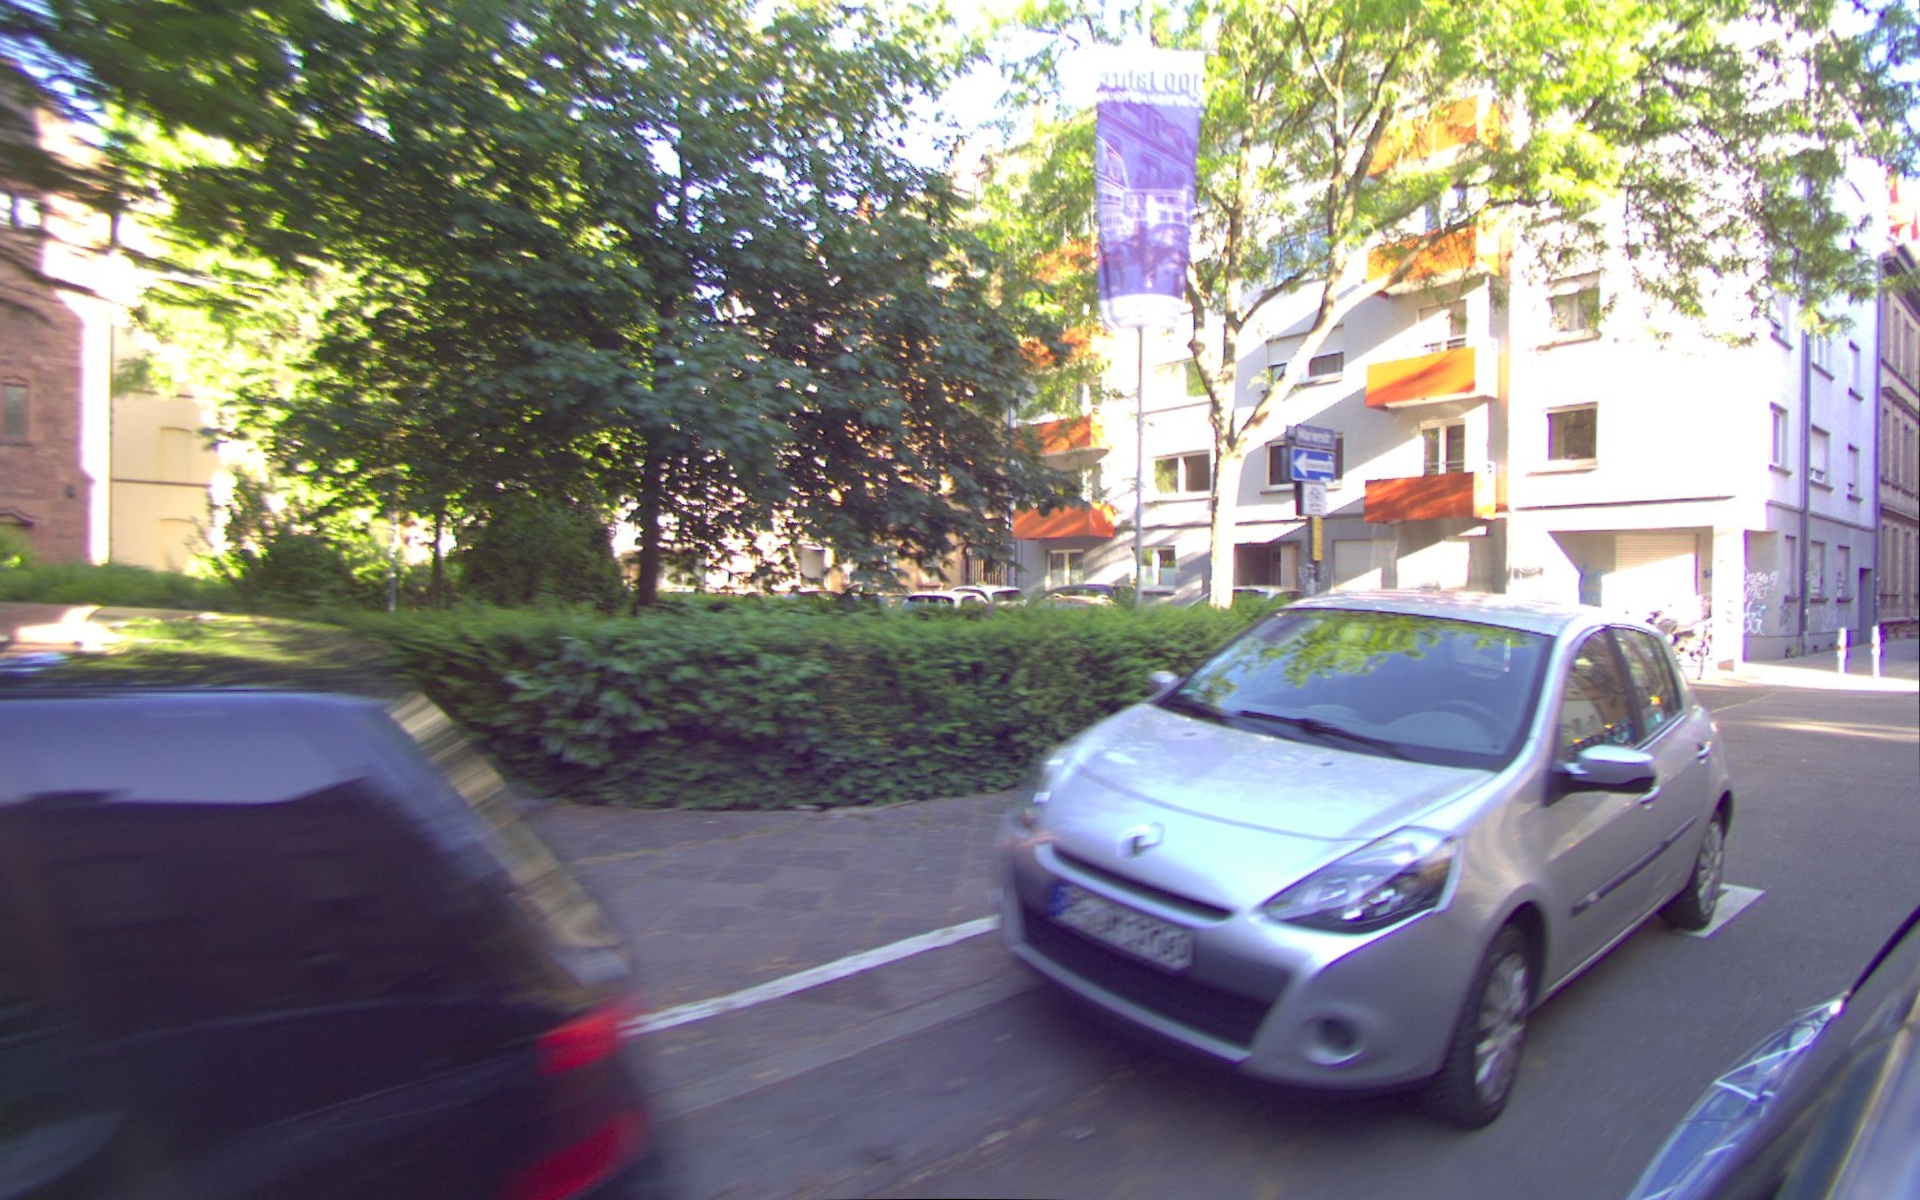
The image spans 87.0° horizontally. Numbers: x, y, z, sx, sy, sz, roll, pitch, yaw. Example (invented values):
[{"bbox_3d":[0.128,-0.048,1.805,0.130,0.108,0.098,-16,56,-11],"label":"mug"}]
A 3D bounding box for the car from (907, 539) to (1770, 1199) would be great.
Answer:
[{"bbox_3d":[1.789,0.564,4.121,3.766,1.538,1.712,-1,3,-41],"label":"car"}]

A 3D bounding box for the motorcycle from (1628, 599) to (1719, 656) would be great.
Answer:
[{"bbox_3d":[15.068,0.563,21.375,1.467,1.131,0.894,1,1,44],"label":"motorcycle"}]

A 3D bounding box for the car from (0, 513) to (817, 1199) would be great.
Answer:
[{"bbox_3d":[-2.211,0.639,0.774,3.934,1.454,1.624,-1,3,-41],"label":"car"}]

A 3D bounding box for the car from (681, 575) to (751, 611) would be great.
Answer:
[{"bbox_3d":[-11.692,-0.376,48.338,1.621,1.598,3.997,-4,3,-40],"label":"car"}]

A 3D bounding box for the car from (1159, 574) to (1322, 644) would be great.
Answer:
[{"bbox_3d":[7.016,0.167,25.541,1.621,1.577,3.693,-4,3,-40],"label":"car"}]

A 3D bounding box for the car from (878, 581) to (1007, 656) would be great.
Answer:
[{"bbox_3d":[-0.270,0.333,22.497,1.756,1.449,4.396,-1,1,15],"label":"car"}]

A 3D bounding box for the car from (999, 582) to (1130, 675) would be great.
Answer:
[{"bbox_3d":[2.053,0.432,18.671,1.756,1.449,4.396,-1,1,15],"label":"car"}]

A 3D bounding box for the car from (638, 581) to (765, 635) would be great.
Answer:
[{"bbox_3d":[-7.578,0.182,30.147,1.756,1.449,4.396,-1,1,15],"label":"car"}]

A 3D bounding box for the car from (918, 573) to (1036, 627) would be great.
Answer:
[{"bbox_3d":[0.506,-0.060,33.156,1.621,1.598,3.997,-4,3,-40],"label":"car"}]

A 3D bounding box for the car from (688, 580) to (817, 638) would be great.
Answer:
[{"bbox_3d":[-5.668,0.196,28.198,1.756,1.449,4.396,-1,1,15],"label":"car"}]

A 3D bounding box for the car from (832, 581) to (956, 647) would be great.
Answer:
[{"bbox_3d":[-1.503,0.278,24.951,1.756,1.449,4.396,-1,1,15],"label":"car"}]

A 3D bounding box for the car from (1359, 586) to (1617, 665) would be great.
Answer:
[{"bbox_3d":[10.756,0.433,20.892,1.751,1.449,4.409,-1,1,-40],"label":"car"}]

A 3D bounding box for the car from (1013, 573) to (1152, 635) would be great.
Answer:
[{"bbox_3d":[3.521,0.065,29.658,1.621,1.636,4.033,-4,3,-40],"label":"car"}]

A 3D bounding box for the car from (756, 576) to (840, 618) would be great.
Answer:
[{"bbox_3d":[-6.784,-0.175,42.163,1.621,1.598,3.997,-4,3,-40],"label":"car"}]

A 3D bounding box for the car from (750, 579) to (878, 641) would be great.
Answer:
[{"bbox_3d":[-3.700,0.214,26.487,1.756,1.449,4.396,-1,1,15],"label":"car"}]

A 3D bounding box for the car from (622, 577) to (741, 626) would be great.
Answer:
[{"bbox_3d":[-8.970,-0.009,32.975,1.756,1.449,4.396,-1,1,15],"label":"car"}]

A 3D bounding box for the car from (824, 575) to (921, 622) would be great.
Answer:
[{"bbox_3d":[-3.361,-0.098,38.228,1.621,1.598,3.997,-4,3,-40],"label":"car"}]
